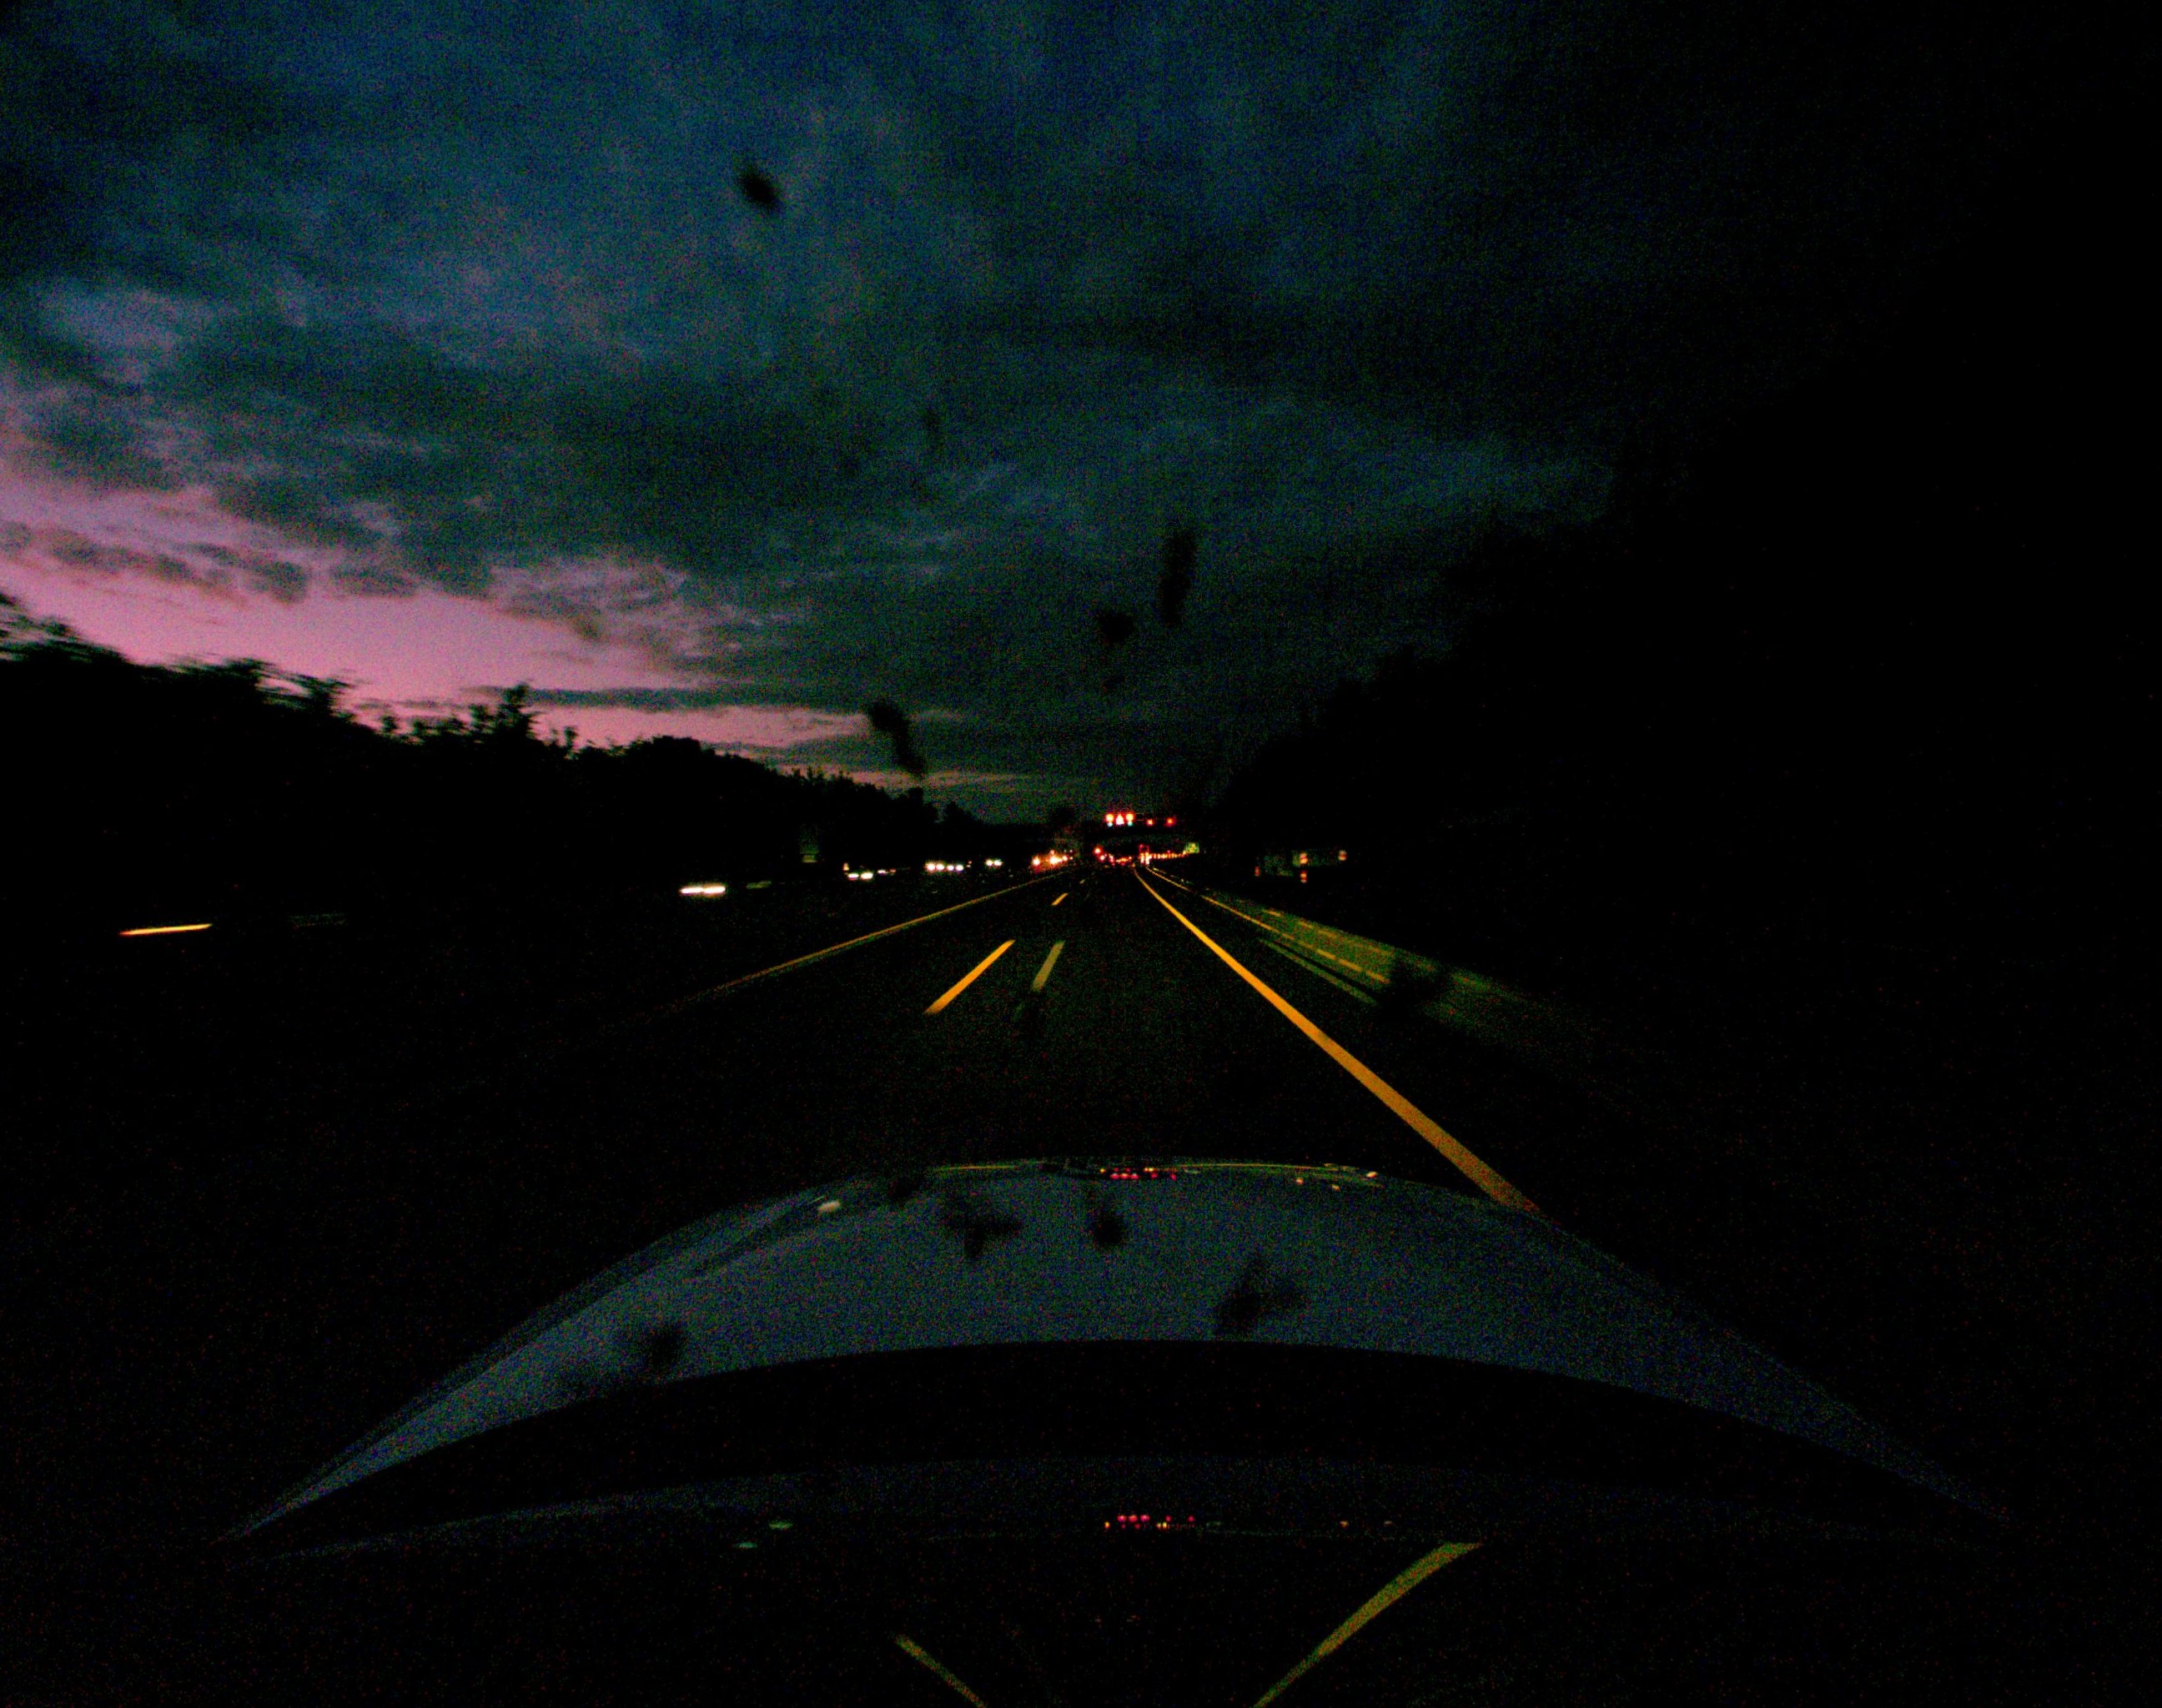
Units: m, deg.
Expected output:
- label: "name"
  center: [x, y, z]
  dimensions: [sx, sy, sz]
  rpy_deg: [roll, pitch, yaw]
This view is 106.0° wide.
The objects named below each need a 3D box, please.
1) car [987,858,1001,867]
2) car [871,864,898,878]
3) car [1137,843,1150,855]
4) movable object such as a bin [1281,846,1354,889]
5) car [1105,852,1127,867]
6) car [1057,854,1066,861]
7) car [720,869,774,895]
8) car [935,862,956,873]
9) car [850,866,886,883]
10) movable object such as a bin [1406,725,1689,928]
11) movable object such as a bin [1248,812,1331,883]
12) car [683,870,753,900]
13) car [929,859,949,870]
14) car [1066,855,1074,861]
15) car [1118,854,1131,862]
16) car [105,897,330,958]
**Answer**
- label: "car"
  center: [-16.823, 1.661, 157.585]
  dimensions: [1.796, 1.638, 4.757]
  rpy_deg: [0, 0, 4]
- label: "car"
  center: [-21.376, 1.843, 88.572]
  dimensions: [1.657, 1.507, 4.183]
  rpy_deg: [0, 0, 4]
- label: "car"
  center: [18.264, -1.425, 238.907]
  dimensions: [3.590, 3.396, 8.021]
  rpy_deg: [0, 0, 3]
- label: "movable object such as a bin"
  center: [9.936, 0.576, 34.547]
  dimensions: [1.985, 1.601, 4.087]
  rpy_deg: [-3, -1, 3]
- label: "car"
  center: [3.769, 0.620, 88.331]
  dimensions: [2.257, 1.621, 4.001]
  rpy_deg: [0, 0, 2]
- label: "car"
  center: [-5.221, 0.948, 218.487]
  dimensions: [1.583, 1.604, 5.042]
  rpy_deg: [0, 0, 6]
- label: "car"
  center: [-23.550, 1.935, 57.599]
  dimensions: [1.744, 1.722, 4.672]
  rpy_deg: [0, 0, 2]
- label: "car"
  center: [-18.888, 1.831, 113.586]
  dimensions: [1.802, 1.485, 4.706]
  rpy_deg: [0, 0, 4]
- label: "car"
  center: [-19.263, 1.834, 73.720]
  dimensions: [1.743, 1.454, 4.675]
  rpy_deg: [0, 0, 4]
- label: "movable object such as a bin"
  center: [8.993, -0.448, 16.568]
  dimensions: [2.554, 3.318, 5.581]
  rpy_deg: [-3, -1, 2]
- label: "movable object such as a bin"
  center: [9.968, -0.256, 39.518]
  dimensions: [2.611, 3.108, 5.808]
  rpy_deg: [-2, -1, 2]
- label: "car"
  center: [-21.313, 1.779, 48.064]
  dimensions: [1.800, 1.588, 4.879]
  rpy_deg: [0, 0, 2]
- label: "car"
  center: [-20.920, 1.531, 120.288]
  dimensions: [1.817, 1.485, 4.706]
  rpy_deg: [0, 0, 4]
- label: "car"
  center: [-2.914, 1.084, 219.213]
  dimensions: [1.728, 1.638, 4.897]
  rpy_deg: [0, 0, 4]
- label: "car"
  center: [7.954, 0.722, 149.007]
  dimensions: [1.961, 1.437, 4.008]
  rpy_deg: [0, 0, 7]
- label: "car"
  center: [-25.991, 2.140, 24.800]
  dimensions: [1.665, 1.470, 4.652]
  rpy_deg: [0, 0, 4]
